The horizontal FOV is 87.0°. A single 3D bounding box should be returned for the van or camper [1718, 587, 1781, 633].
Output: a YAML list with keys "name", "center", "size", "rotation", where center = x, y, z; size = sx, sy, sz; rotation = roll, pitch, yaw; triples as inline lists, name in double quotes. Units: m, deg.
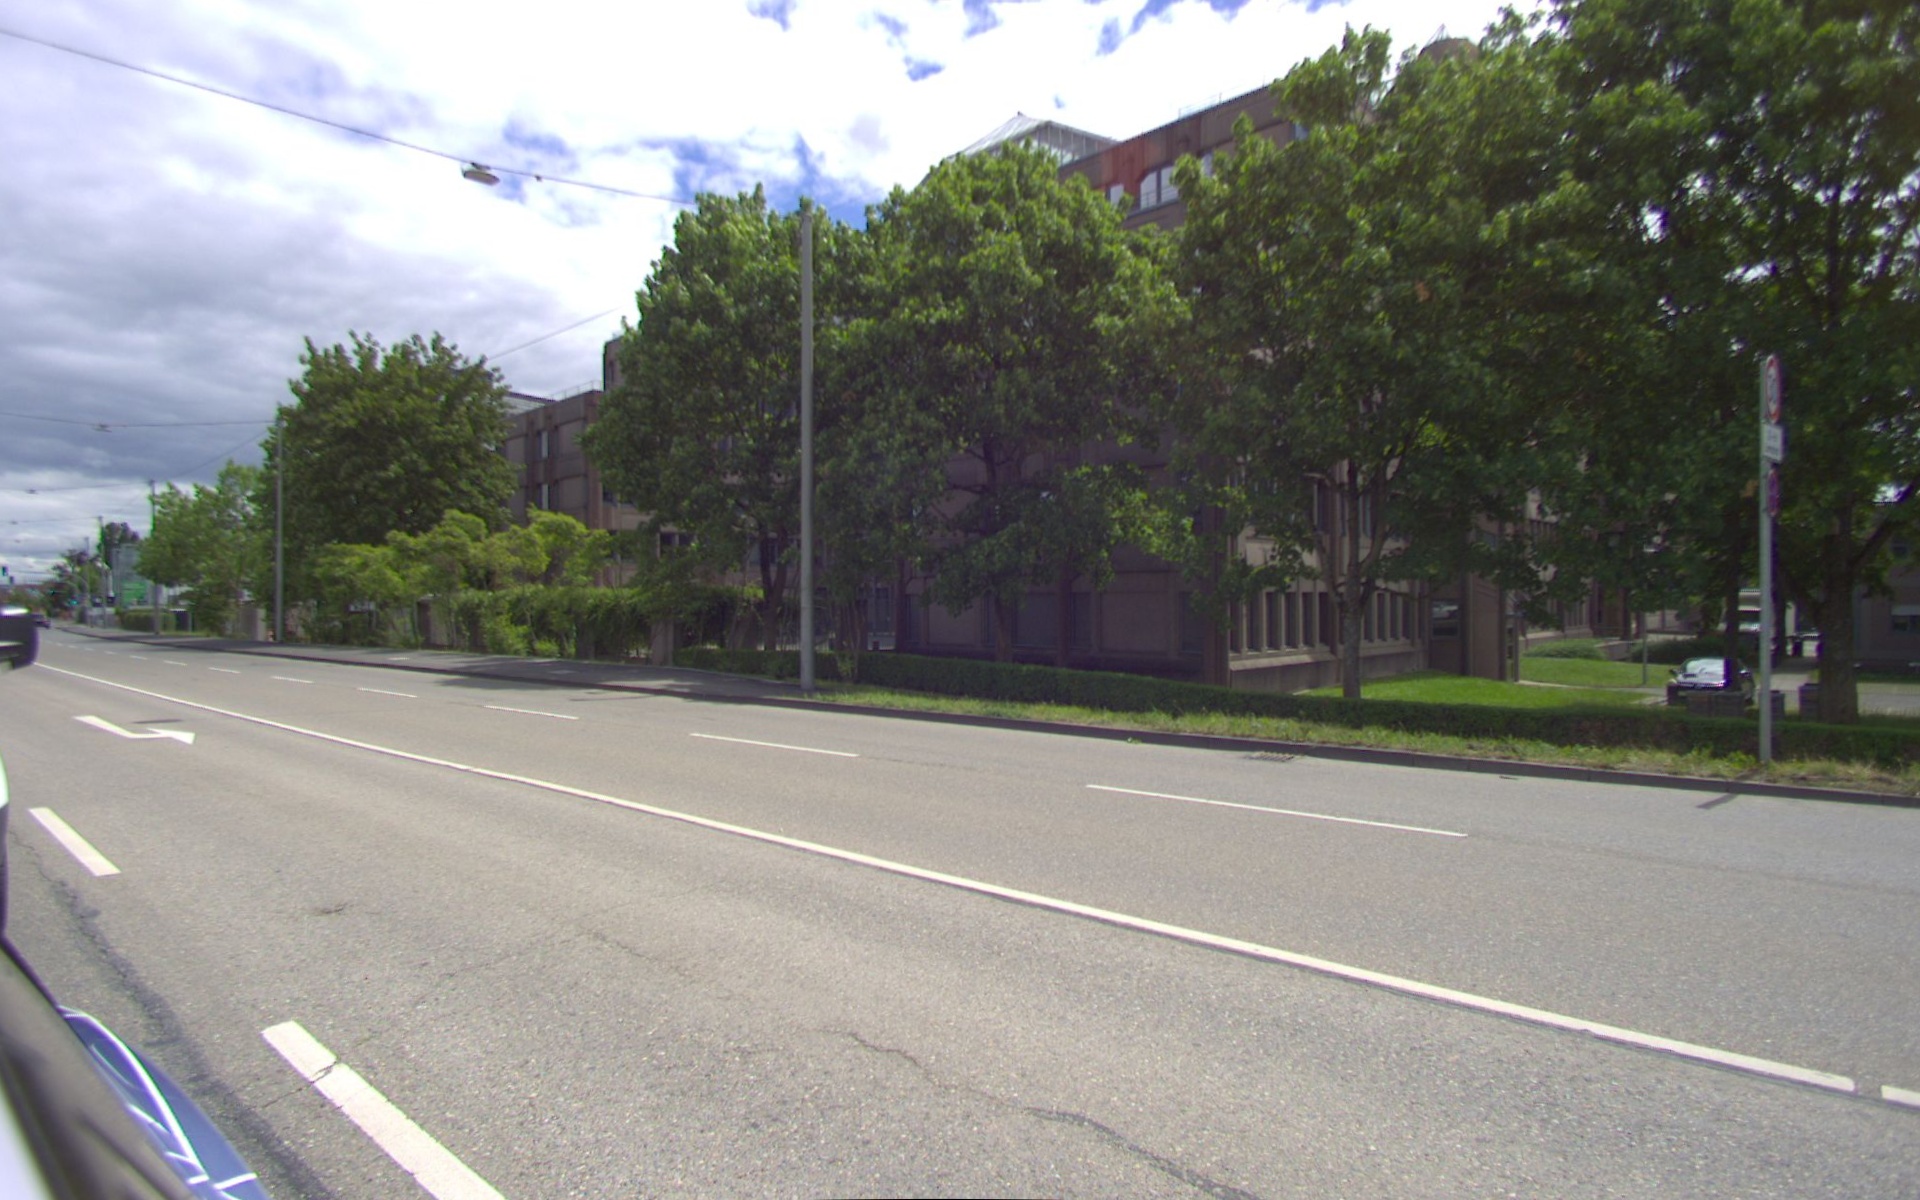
- name: "van or camper"
  center: [39.192, 0.463, 50.353]
  size: [2.354, 2.120, 5.140]
  rotation: [0, 0, 37]

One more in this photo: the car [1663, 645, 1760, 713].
- name: "car"
  center: [22.035, 2.244, 29.637]
  size: [1.787, 1.741, 3.942]
  rotation: [0, -1, 44]

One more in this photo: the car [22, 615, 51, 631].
- name: "car"
  center: [-95.477, 2.369, 104.660]
  size: [4.572, 1.627, 1.847]
  rotation: [0, 0, 43]
